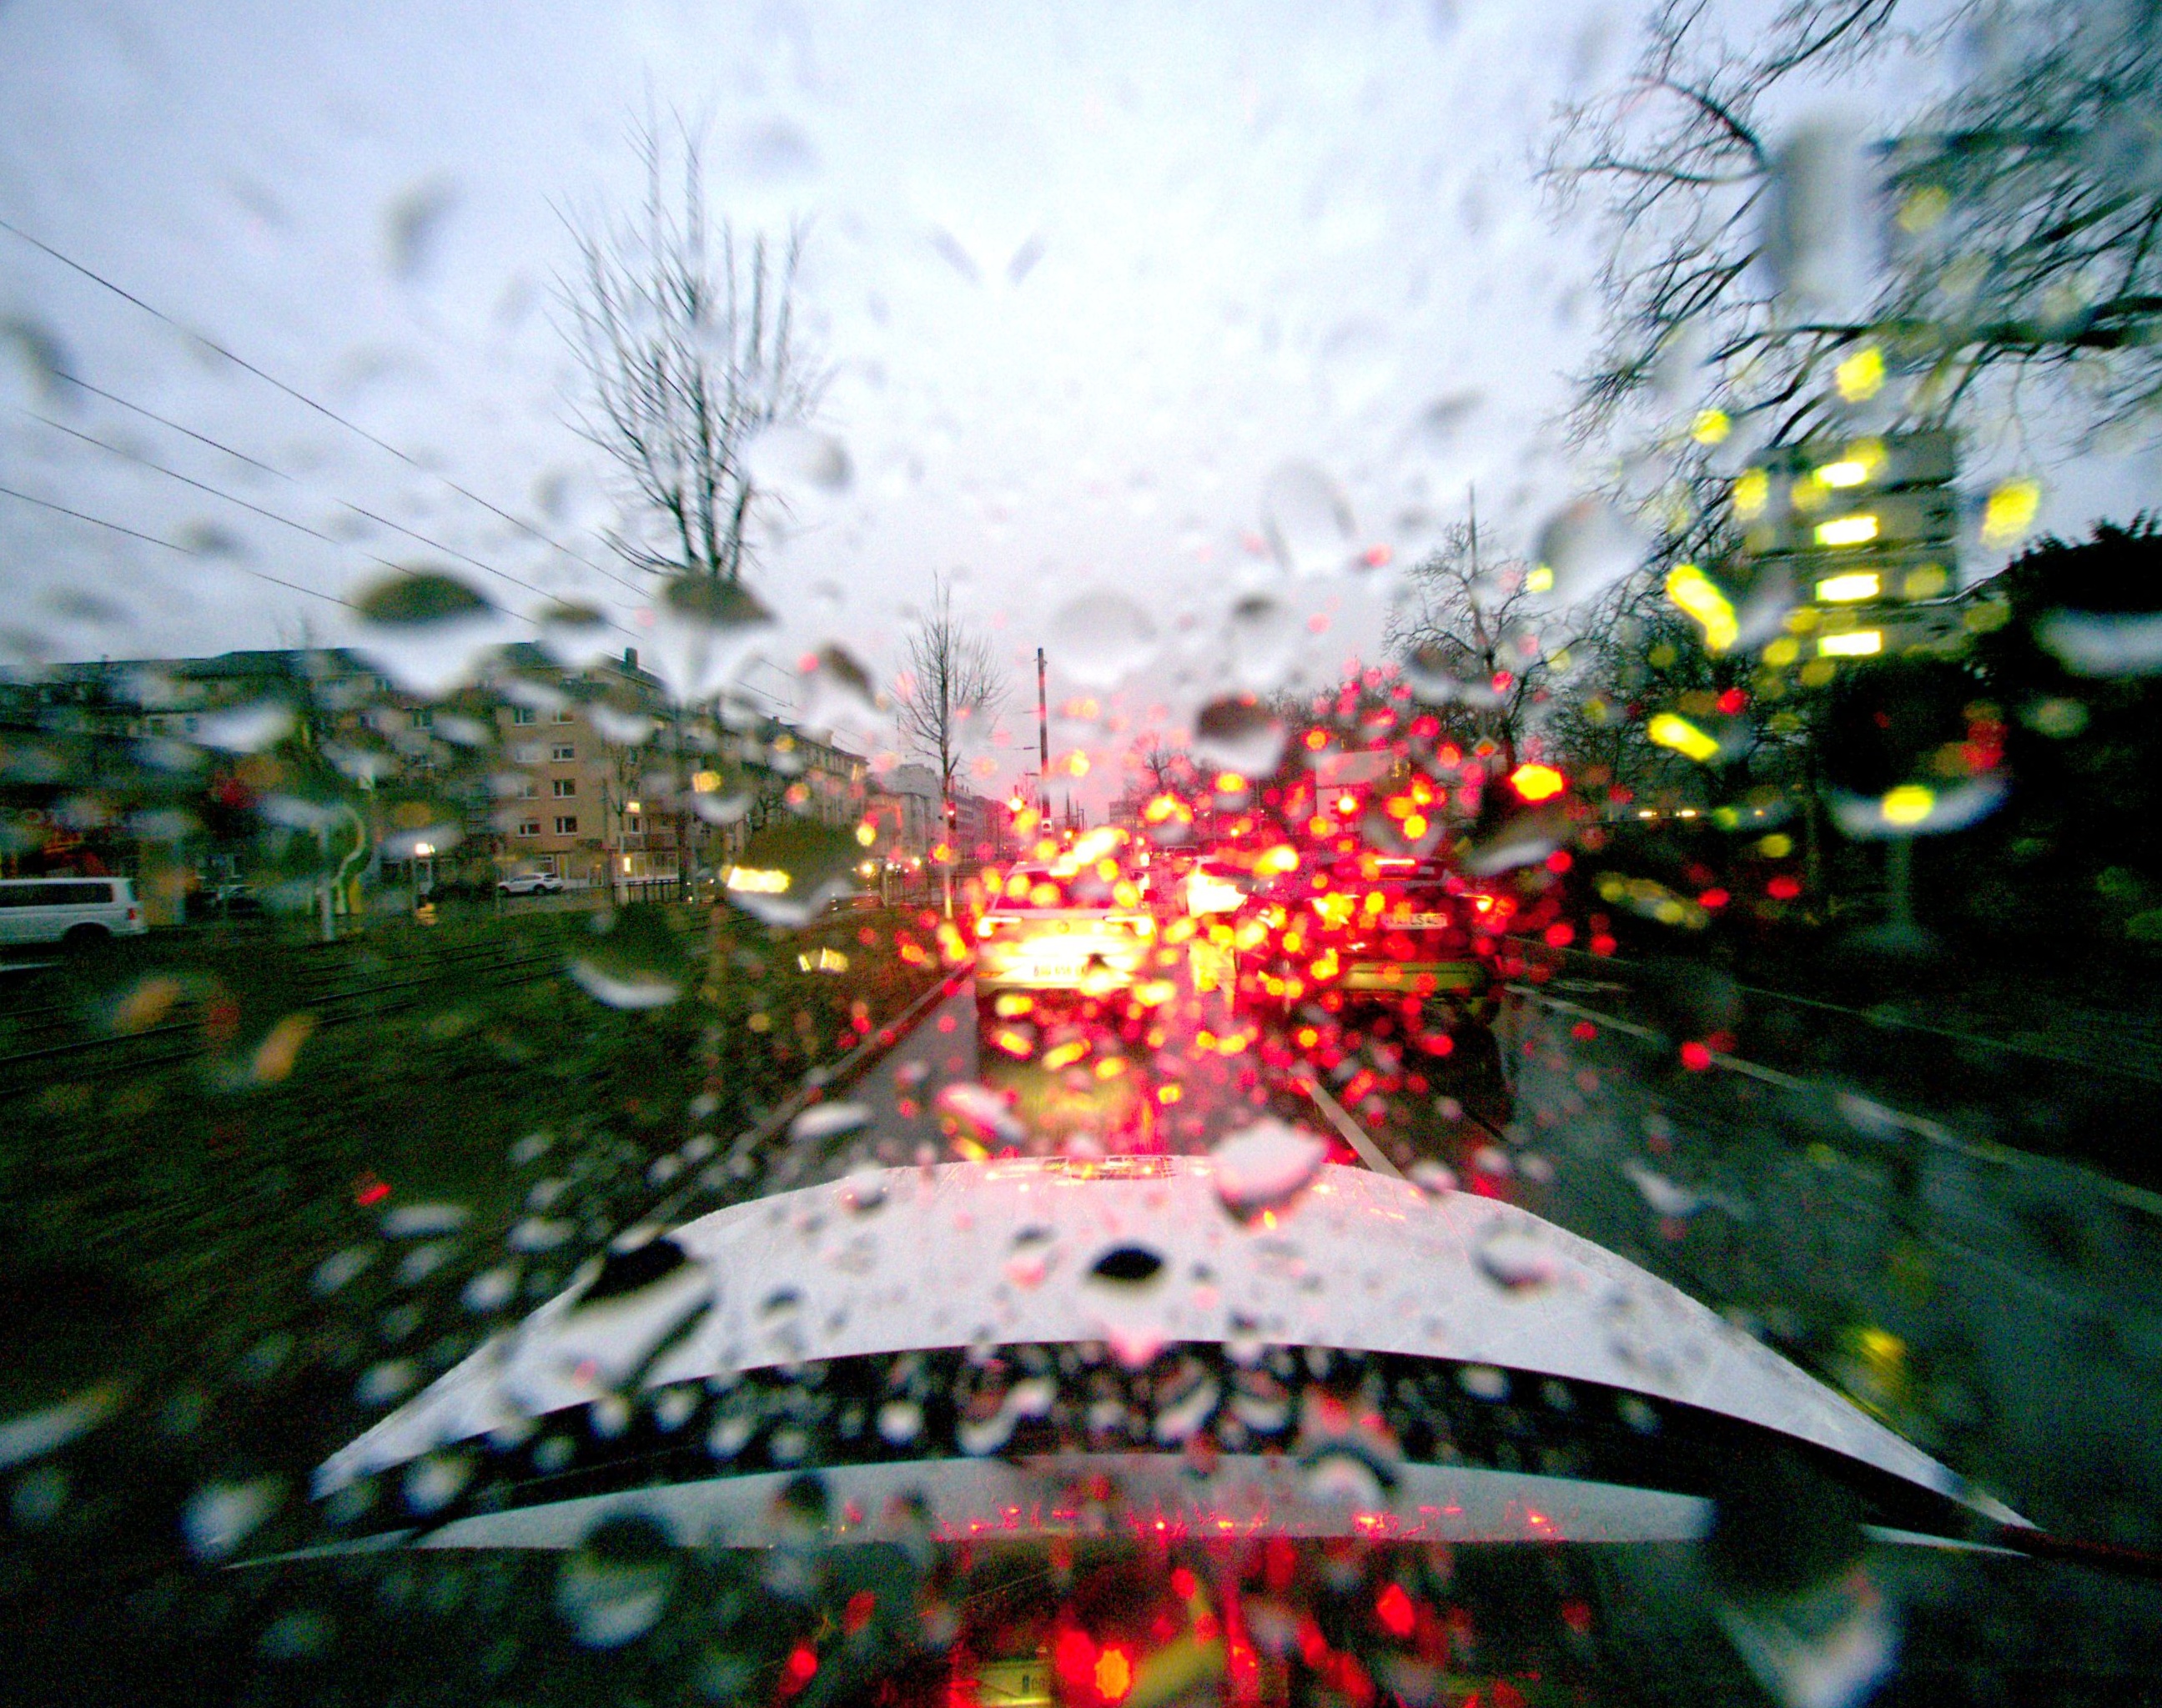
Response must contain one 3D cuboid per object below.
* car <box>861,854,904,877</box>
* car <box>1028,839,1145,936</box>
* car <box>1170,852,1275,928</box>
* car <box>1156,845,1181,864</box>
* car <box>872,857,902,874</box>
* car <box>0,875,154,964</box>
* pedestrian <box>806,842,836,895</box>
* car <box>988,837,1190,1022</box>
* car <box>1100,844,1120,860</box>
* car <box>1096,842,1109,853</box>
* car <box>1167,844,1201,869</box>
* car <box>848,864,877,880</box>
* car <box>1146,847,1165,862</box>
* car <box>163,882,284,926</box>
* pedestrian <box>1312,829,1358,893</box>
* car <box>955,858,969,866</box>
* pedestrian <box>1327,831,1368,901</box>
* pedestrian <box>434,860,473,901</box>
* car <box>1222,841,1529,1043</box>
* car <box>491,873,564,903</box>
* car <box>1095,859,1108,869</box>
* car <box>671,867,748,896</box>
[{"bbox_3d":[-13.995,0.786,57.523,1.986,1.602,4.001,0,0,1],"label":"car"},{"bbox_3d":[0.169,0.515,15.156,1.792,1.466,4.588,-2,0,2],"label":"car"},{"bbox_3d":[2.885,0.683,17.337,1.738,1.433,3.733,0,0,2],"label":"car"},{"bbox_3d":[7.287,0.024,67.846,1.731,1.419,3.705,-2,0,2],"label":"car"},{"bbox_3d":[-18.897,1.120,79.430,1.860,1.577,4.002,-2,0,2],"label":"car"},{"bbox_3d":[-28.720,1.743,21.883,4.859,2.244,1.975,0,0,-44],"label":"car"},{"bbox_3d":[-10.350,0.573,32.454,1.005,2.013,0.958,-2,0,-13],"label":"pedestrian"},{"bbox_3d":[0.054,0.621,8.857,1.688,1.533,3.999,-1,0,-1],"label":"car"},{"bbox_3d":[2.725,-0.187,76.639,1.731,1.419,4.396,-2,0,2],"label":"car"},{"bbox_3d":[2.932,-0.943,112.416,1.731,1.419,3.805,-2,0,2],"label":"car"},{"bbox_3d":[6.364,0.129,50.833,1.731,1.419,3.705,-2,0,2],"label":"car"},{"bbox_3d":[-19.100,1.540,71.292,1.688,1.277,4.142,-2,0,-4],"label":"car"},{"bbox_3d":[7.891,0.030,86.716,1.731,1.419,4.148,-2,0,2],"label":"car"},{"bbox_3d":[-43.060,2.468,41.028,1.886,2.013,3.876,0,0,1],"label":"car"},{"bbox_3d":[8.232,0.220,26.384,0.962,2.013,1.001,-2,0,-21],"label":"pedestrian"},{"bbox_3d":[-22.963,1.492,156.961,1.942,1.602,4.002,0,0,2],"label":"car"},{"bbox_3d":[7.915,0.338,24.215,0.953,2.013,1.010,-2,0,10],"label":"pedestrian"},{"bbox_3d":[-31.879,1.344,41.399,1.274,2.013,1.000,-2,0,-22],"label":"pedestrian"},{"bbox_3d":[2.615,0.678,8.264,1.793,1.511,3.897,-2,0,2],"label":"car"},{"bbox_3d":[-38.548,2.350,56.821,3.743,1.942,1.838,0,0,-6],"label":"car"},{"bbox_3d":[2.974,1.459,118.399,1.731,1.419,3.805,-2,0,2],"label":"car"},{"bbox_3d":[-18.877,1.377,41.620,1.852,1.332,4.317,0,0,2],"label":"car"}]
